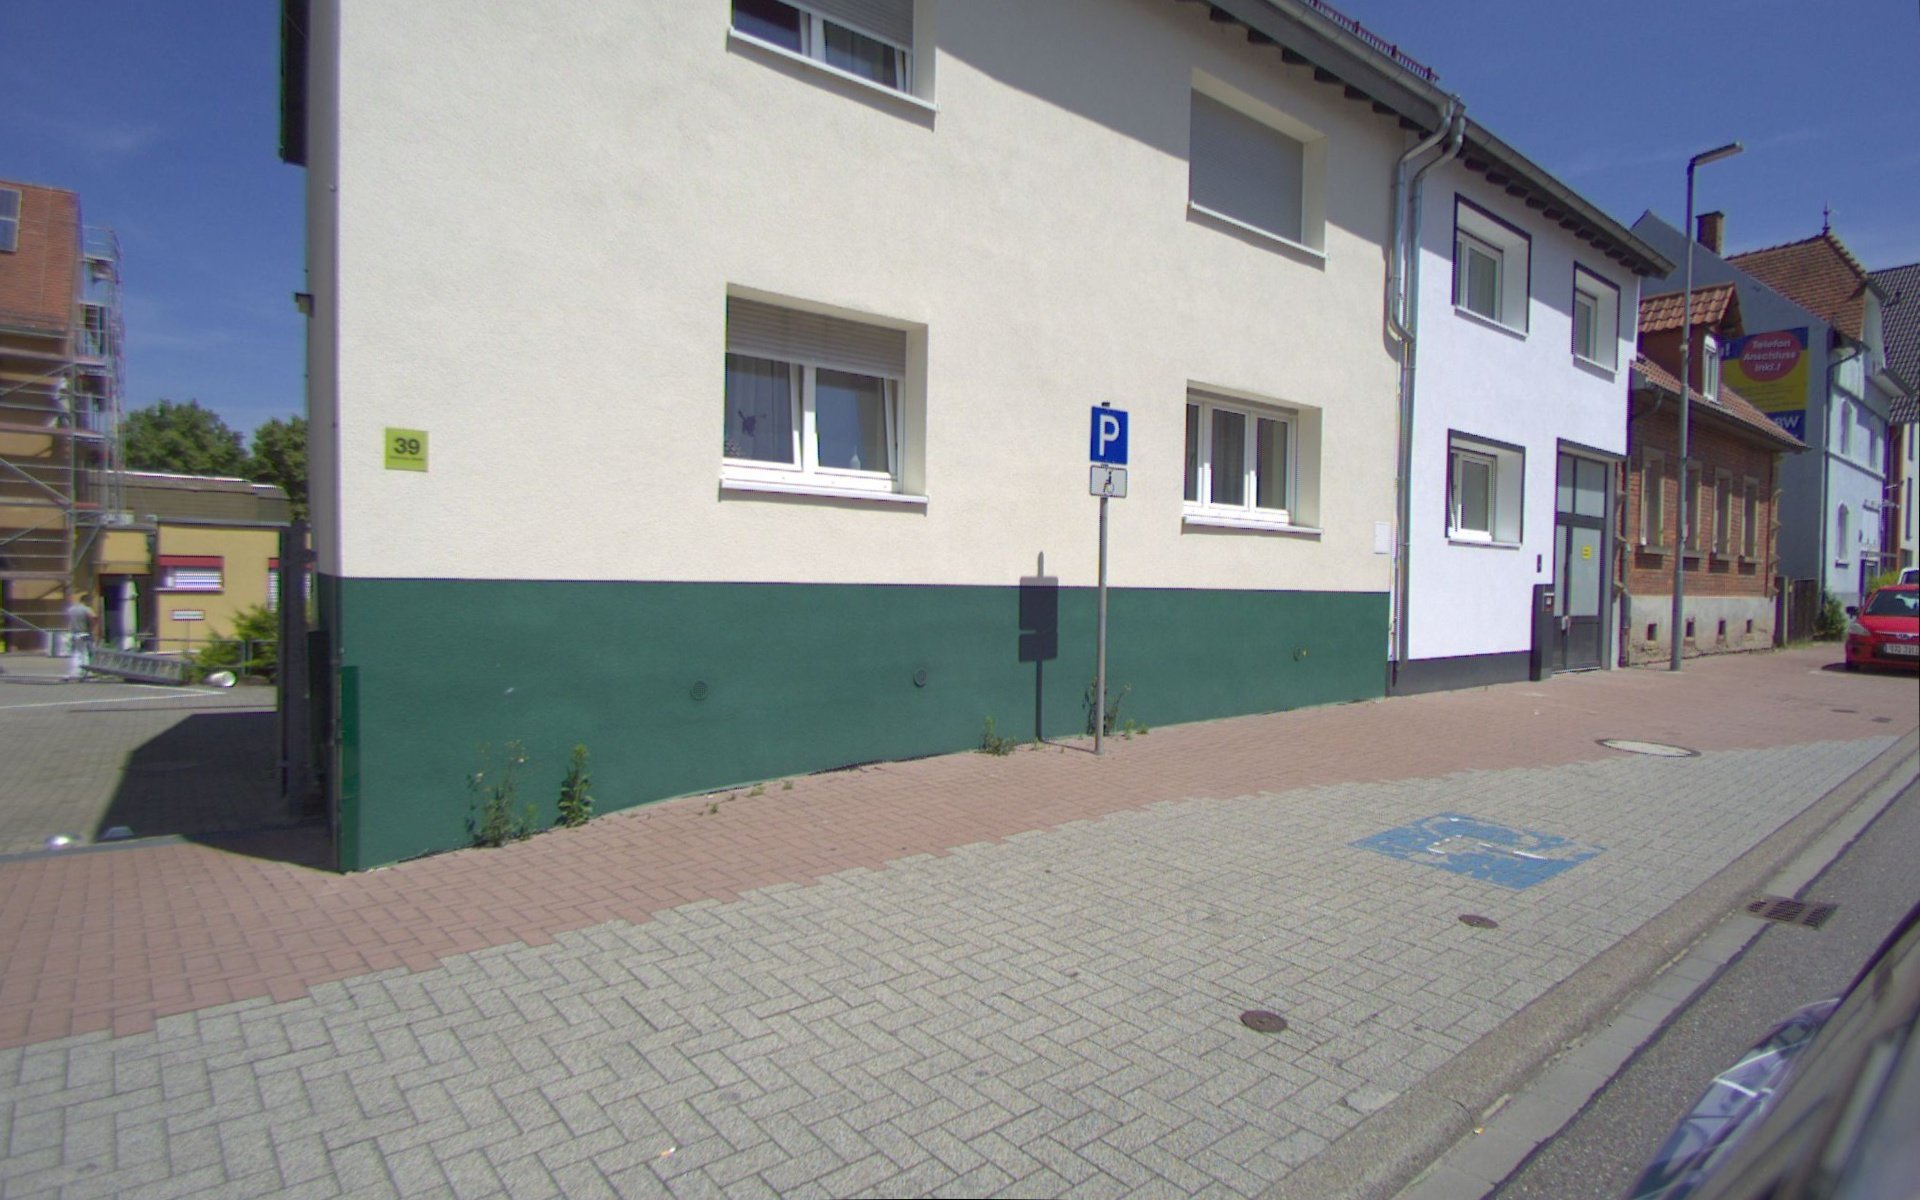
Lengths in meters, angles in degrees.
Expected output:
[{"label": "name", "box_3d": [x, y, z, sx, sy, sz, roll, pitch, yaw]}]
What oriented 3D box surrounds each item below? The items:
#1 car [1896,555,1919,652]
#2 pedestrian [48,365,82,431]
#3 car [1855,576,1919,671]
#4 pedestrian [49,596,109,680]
[{"label": "car", "box_3d": [22.040, 0.086, 22.088, 4.703, 1.994, 1.949, 0, 2, -42]}, {"label": "pedestrian", "box_3d": [-25.996, -5.849, 29.388, 0.654, 1.721, 0.708, 0, 0, 44]}, {"label": "car", "box_3d": [17.078, 0.385, 17.761, 3.613, 1.547, 1.613, 0, 2, -42]}, {"label": "pedestrian", "box_3d": [-18.406, 0.771, 21.154, 0.646, 1.721, 0.717, 0, 0, 10]}]
